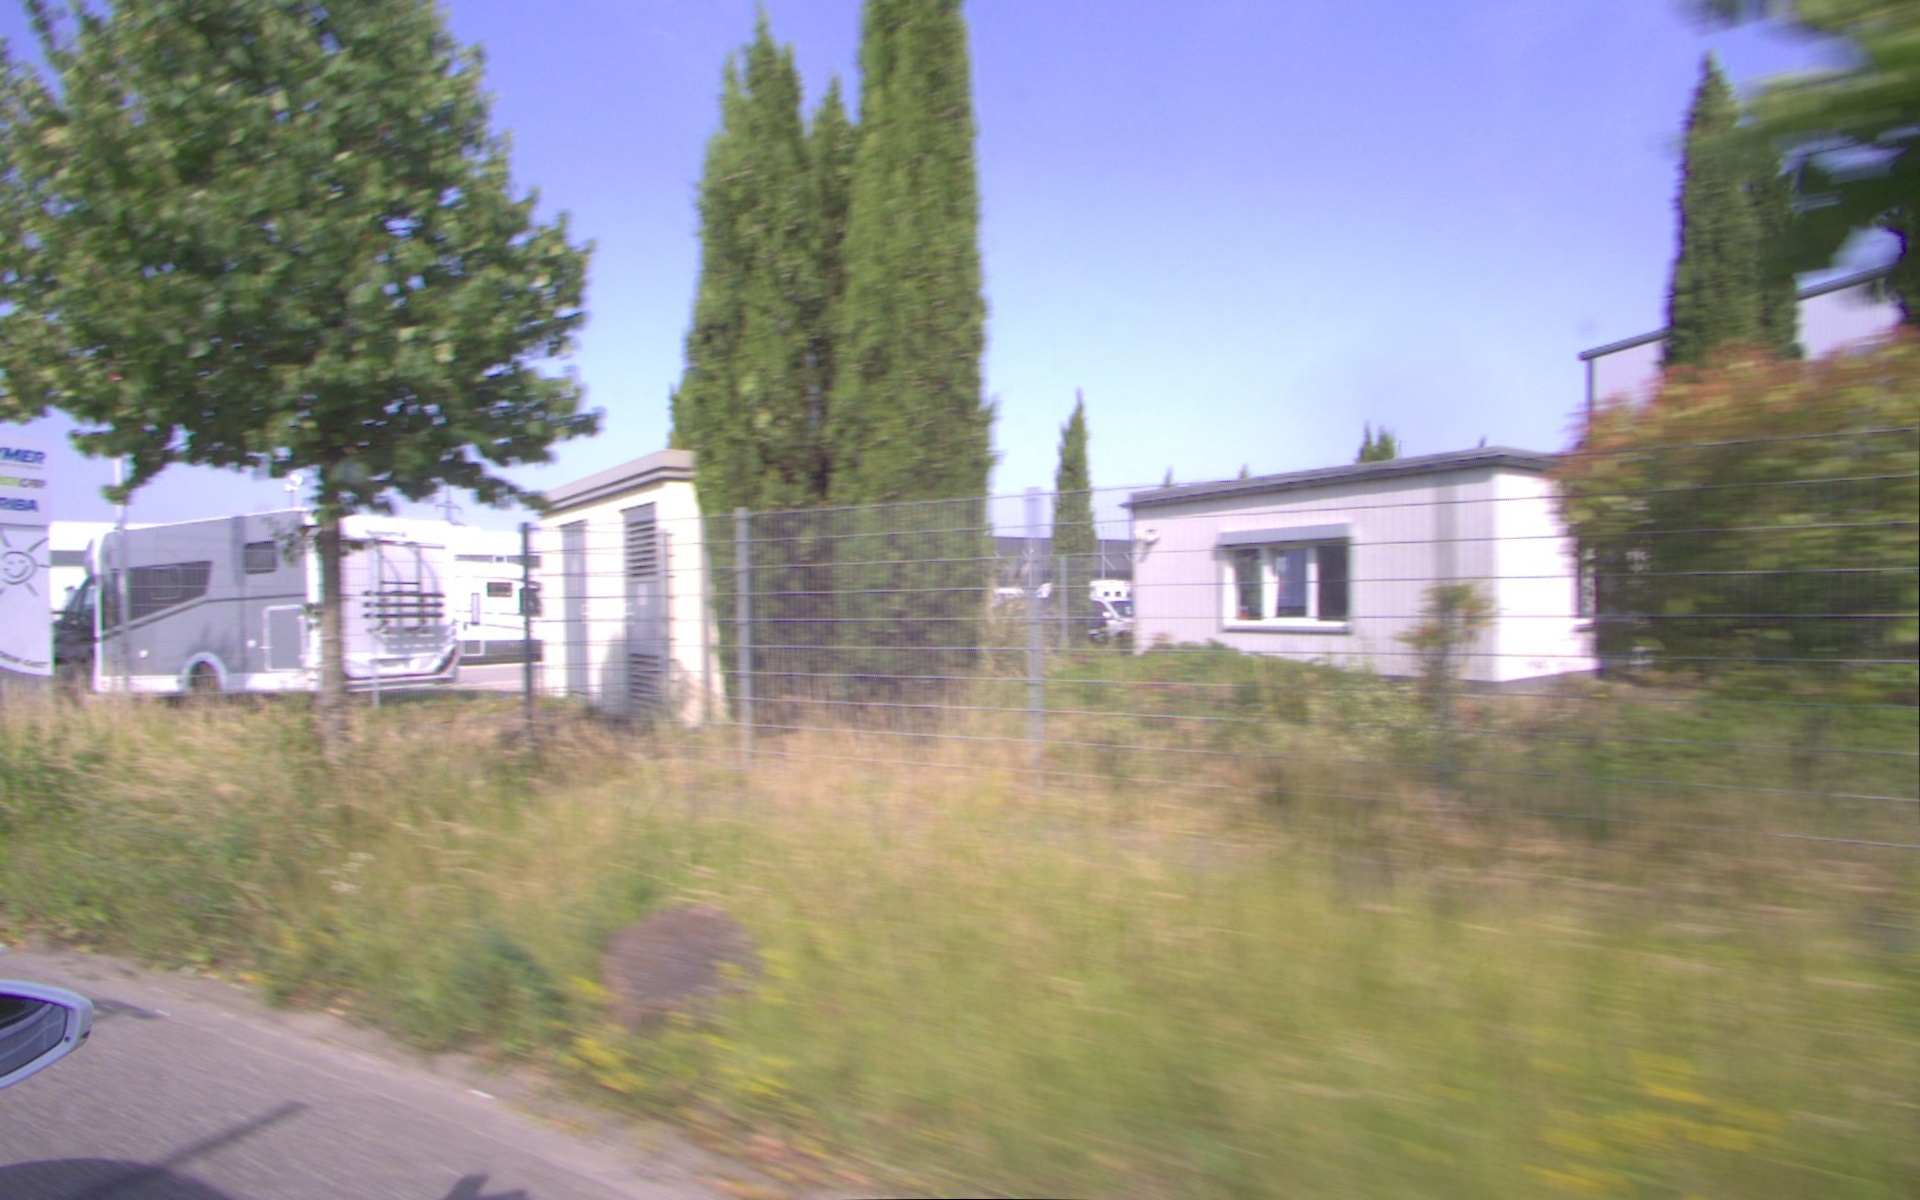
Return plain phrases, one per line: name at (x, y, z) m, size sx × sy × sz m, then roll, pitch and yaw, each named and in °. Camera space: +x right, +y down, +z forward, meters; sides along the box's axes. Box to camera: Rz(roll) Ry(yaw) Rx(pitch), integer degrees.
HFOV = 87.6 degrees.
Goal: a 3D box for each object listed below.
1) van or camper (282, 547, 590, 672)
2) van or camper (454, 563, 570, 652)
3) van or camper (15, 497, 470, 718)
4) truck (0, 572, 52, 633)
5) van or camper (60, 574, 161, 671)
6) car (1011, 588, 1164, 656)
van or camper at (-14.436, 0.199, 28.028) m, size 7.205 × 3.072 × 2.561 m, roll -1°, pitch 1°, yaw -42°
van or camper at (-16.253, 0.283, 36.090) m, size 2.300 × 2.902 × 6.559 m, roll -1°, pitch 0°, yaw -38°
van or camper at (-11.236, 0.130, 15.582) m, size 7.219 × 2.886 × 2.350 m, roll 0°, pitch 1°, yaw 23°
truck at (-47.845, 0.127, 50.143) m, size 2.427 × 2.864 × 7.946 m, roll -1°, pitch 1°, yaw -35°
van or camper at (-24.865, 0.580, 29.500) m, size 1.976 × 2.568 × 6.101 m, roll -2°, pitch 1°, yaw -38°
car at (3.369, 0.516, 27.008) m, size 1.697 × 1.639 × 3.962 m, roll -2°, pitch 3°, yaw -42°
